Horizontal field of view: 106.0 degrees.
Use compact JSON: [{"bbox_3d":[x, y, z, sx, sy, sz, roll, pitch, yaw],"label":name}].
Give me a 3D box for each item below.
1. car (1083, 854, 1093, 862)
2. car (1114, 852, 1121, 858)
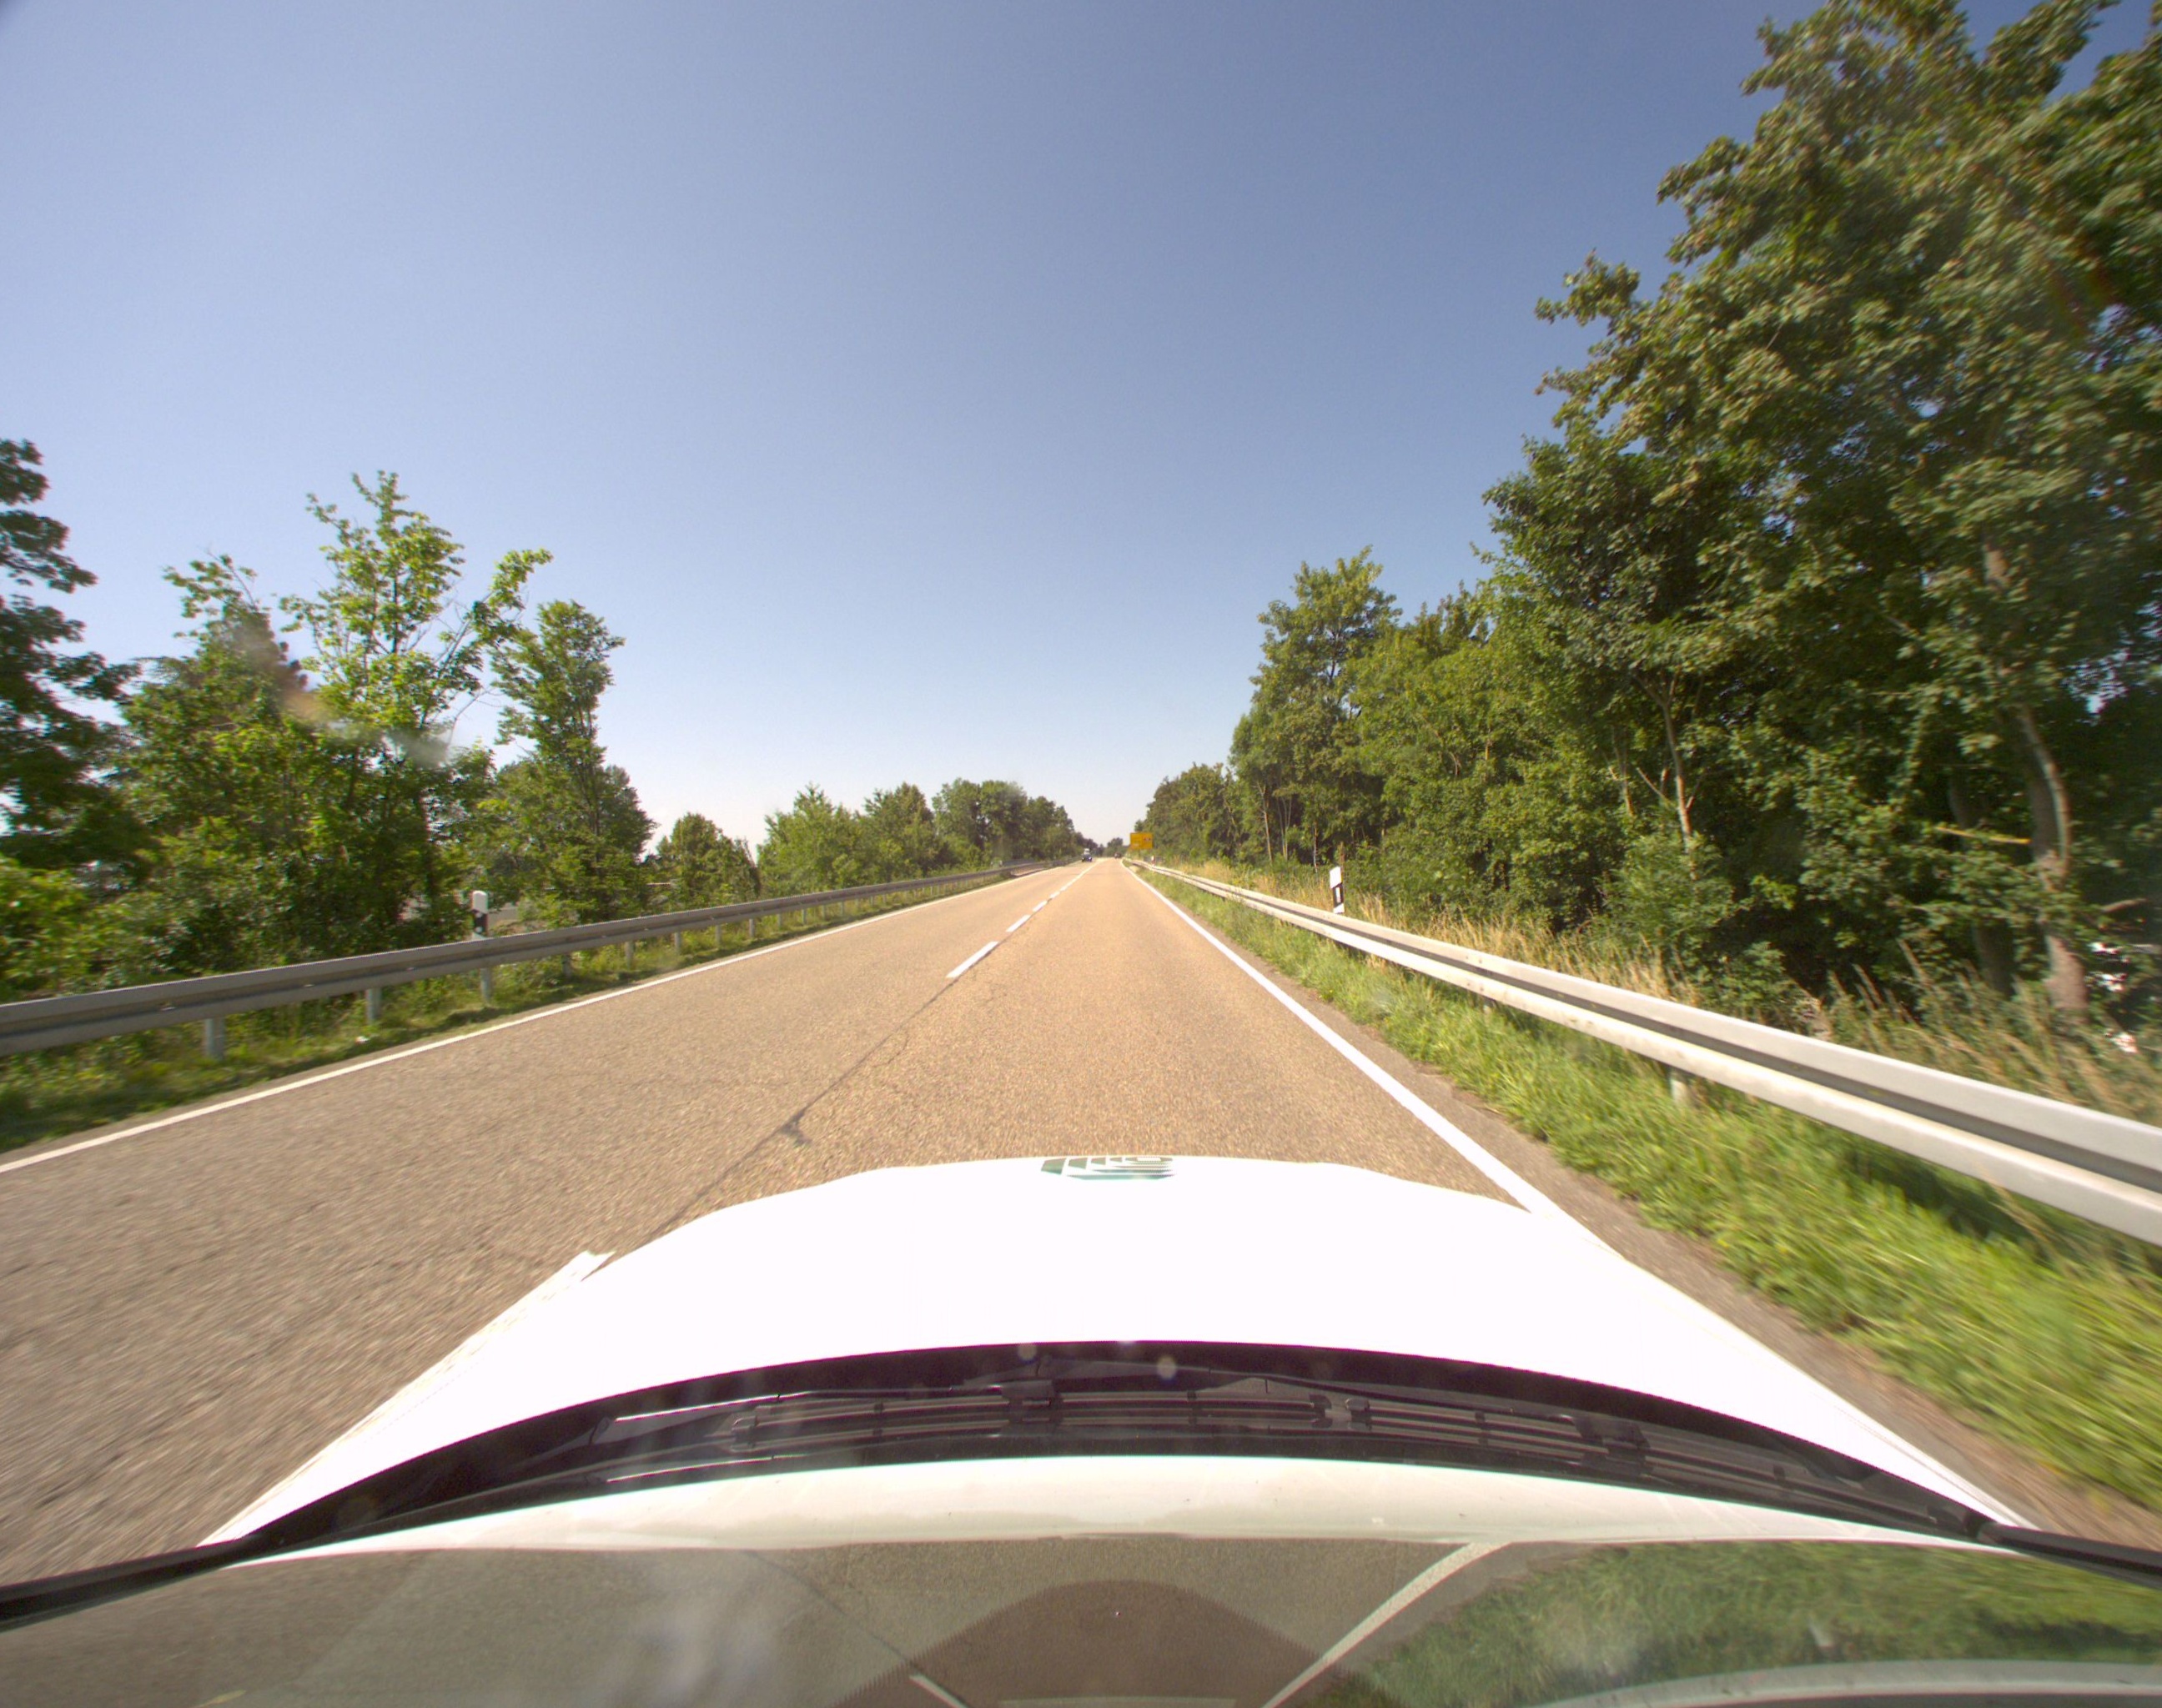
[{"bbox_3d":[1.367,0.756,153.824,1.739,1.425,4.680,-1,0,2],"label":"car"},{"bbox_3d":[9.355,0.357,209.952,1.734,1.470,3.695,-1,0,3],"label":"car"}]
